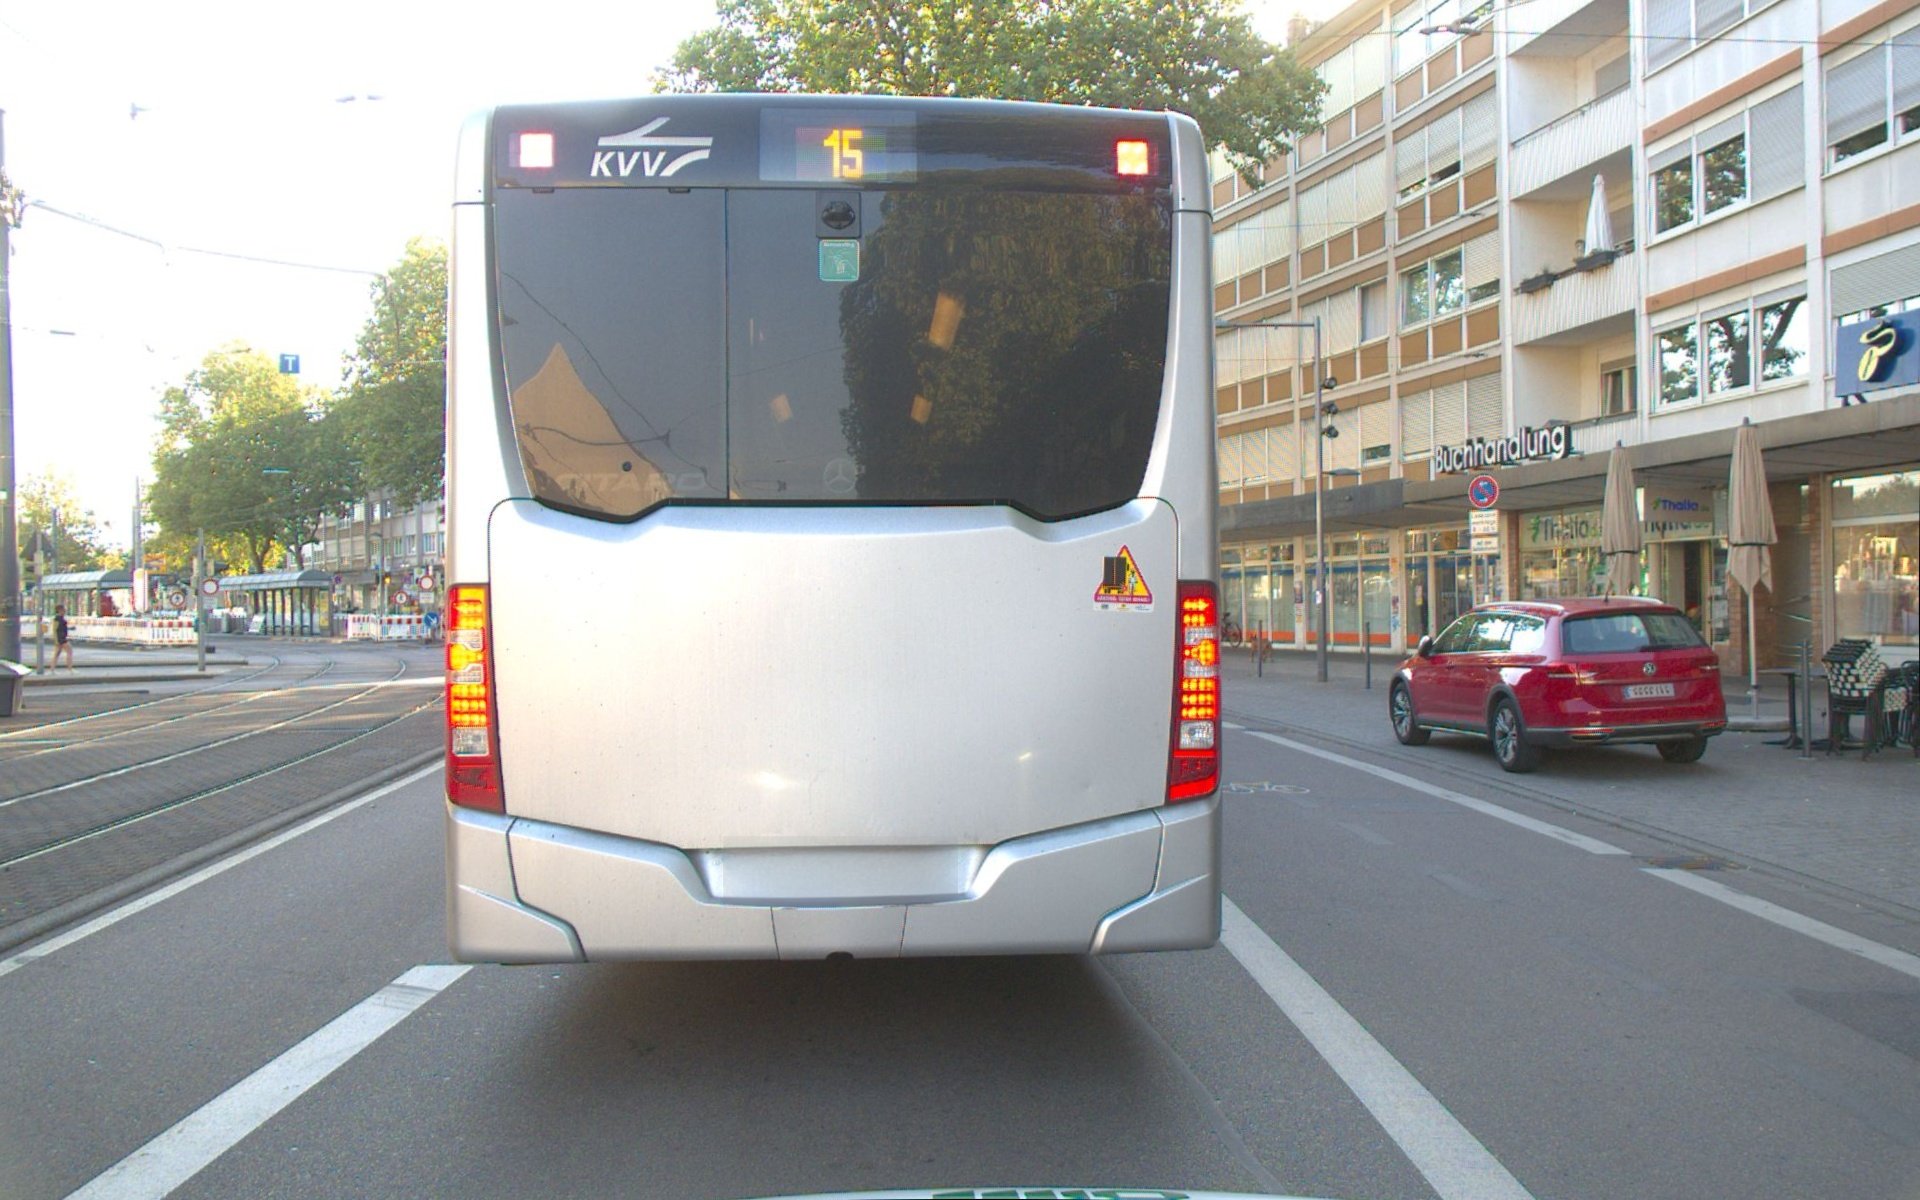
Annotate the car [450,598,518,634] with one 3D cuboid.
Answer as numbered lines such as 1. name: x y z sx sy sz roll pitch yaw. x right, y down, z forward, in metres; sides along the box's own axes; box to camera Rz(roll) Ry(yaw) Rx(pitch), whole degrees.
1. car: -25.331 0.843 87.909 1.982 1.823 3.940 1 -1 -41

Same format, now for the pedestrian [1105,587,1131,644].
1. pedestrian: 4.651 0.458 48.753 0.527 1.677 0.612 -1 0 -18

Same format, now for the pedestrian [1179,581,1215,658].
1. pedestrian: 5.478 0.447 38.201 0.634 1.747 0.557 -1 0 -17

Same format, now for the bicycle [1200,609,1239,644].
1. bicycle: 7.192 0.731 45.824 0.406 0.961 1.431 -1 0 -21

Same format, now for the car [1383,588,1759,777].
1. car: 5.688 0.692 16.033 1.735 1.508 4.299 -2 0 -4

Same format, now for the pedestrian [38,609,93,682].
1. pedestrian: -21.295 1.080 39.395 0.977 1.716 0.642 0 -2 -13

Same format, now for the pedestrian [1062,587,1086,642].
1. pedestrian: 3.518 0.457 50.960 0.527 1.677 0.612 -1 0 -18

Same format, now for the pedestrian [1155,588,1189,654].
1. pedestrian: 5.232 0.514 40.773 0.634 1.609 0.557 -1 0 -17

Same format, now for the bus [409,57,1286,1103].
1. bus: -0.403 -0.047 9.900 2.577 3.081 9.995 0 0 -1
